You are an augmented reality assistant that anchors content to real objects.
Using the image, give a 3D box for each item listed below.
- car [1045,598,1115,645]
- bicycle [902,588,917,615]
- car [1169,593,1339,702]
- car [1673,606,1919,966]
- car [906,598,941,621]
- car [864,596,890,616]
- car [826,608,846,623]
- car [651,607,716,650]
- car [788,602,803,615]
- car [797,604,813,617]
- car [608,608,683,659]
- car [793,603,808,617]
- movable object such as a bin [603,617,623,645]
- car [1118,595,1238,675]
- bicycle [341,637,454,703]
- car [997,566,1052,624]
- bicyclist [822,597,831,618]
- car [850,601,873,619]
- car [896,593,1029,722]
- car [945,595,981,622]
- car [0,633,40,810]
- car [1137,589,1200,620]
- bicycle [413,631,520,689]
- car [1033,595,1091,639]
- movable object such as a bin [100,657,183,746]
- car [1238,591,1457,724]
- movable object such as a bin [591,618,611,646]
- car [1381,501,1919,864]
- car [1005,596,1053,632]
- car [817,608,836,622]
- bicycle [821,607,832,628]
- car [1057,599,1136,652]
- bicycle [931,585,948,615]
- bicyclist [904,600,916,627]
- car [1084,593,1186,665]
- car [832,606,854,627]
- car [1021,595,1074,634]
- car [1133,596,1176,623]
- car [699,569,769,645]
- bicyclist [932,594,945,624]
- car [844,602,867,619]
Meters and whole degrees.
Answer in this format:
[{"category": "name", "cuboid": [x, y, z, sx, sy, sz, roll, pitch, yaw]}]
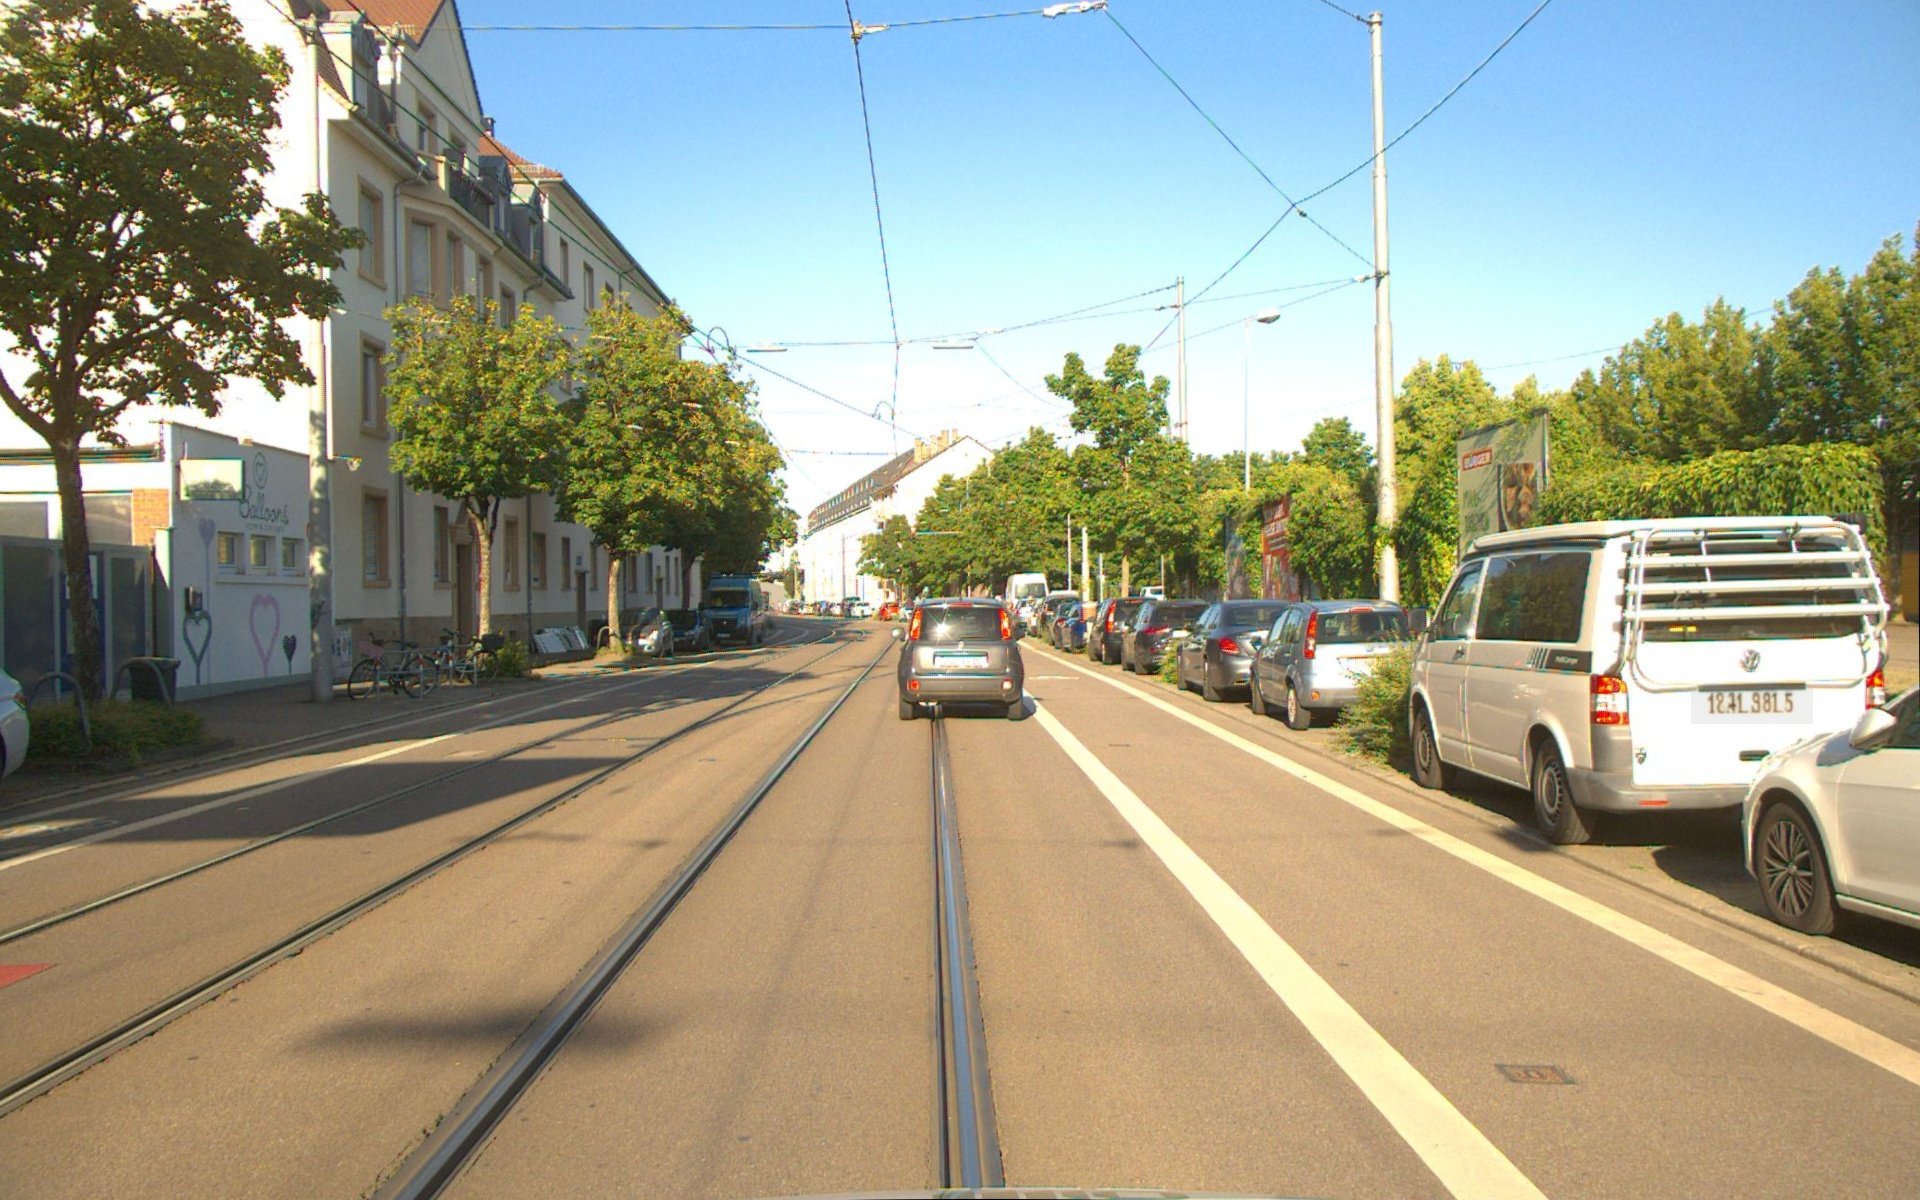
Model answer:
[{"category": "car", "cuboid": [3.897, 0.690, 54.395, 1.694, 1.490, 4.494, 0, 0, -4]}, {"category": "bicycle", "cuboid": [-3.349, 0.076, 109.933, 0.663, 1.777, 2.151, 0, 0, -12]}, {"category": "car", "cuboid": [4.386, 0.671, 25.347, 1.787, 1.510, 4.601, 0, 0, 0]}, {"category": "car", "cuboid": [4.805, 0.766, 6.711, 1.642, 1.442, 4.500, -3, 0, -3]}, {"category": "car", "cuboid": [-2.657, 0.699, 118.892, 1.660, 1.556, 3.986, -3, 0, -13]}, {"category": "car", "cuboid": [-6.763, 0.480, 133.911, 1.606, 1.534, 3.388, -4, 0, -10]}, {"category": "car", "cuboid": [-12.929, 1.609, 172.229, 1.626, 1.526, 3.120, 0, 0, -12]}, {"category": "car", "cuboid": [-9.626, 0.961, 57.918, 1.618, 1.450, 4.189, 0, 0, -1]}, {"category": "car", "cuboid": [-20.489, 1.024, 206.194, 1.555, 1.627, 3.366, 0, 0, -12]}, {"category": "car", "cuboid": [-18.235, 1.227, 194.456, 1.555, 1.430, 3.366, 0, 0, -12]}, {"category": "car", "cuboid": [-9.780, 1.011, 51.595, 1.618, 1.517, 3.999, 0, 0, -1]}, {"category": "car", "cuboid": [-19.310, 1.189, 200.110, 1.555, 1.627, 3.366, 0, 0, -12]}, {"category": "movable object such as a bin", "cuboid": [-12.426, 1.108, 59.230, 0.584, 0.951, 0.568, -1, 0, -4]}, {"category": "car", "cuboid": [4.369, 0.668, 33.797, 1.787, 1.477, 4.641, -1, 0, -1]}, {"category": "bicycle", "cuboid": [-9.529, 1.170, 28.074, 0.656, 1.058, 1.780, 0, -1, 36]}, {"category": "car", "cuboid": [3.237, -0.220, 83.758, 2.137, 2.712, 6.087, -3, 0, -3]}, {"category": "bicyclist", "cuboid": [-12.959, 0.702, 160.682, 0.702, 2.049, 0.829, 0, -1, -12]}, {"category": "car", "cuboid": [-9.057, 0.902, 152.218, 1.626, 1.599, 3.489, 0, 0, -12]}, {"category": "car", "cuboid": [-0.016, 0.702, 22.234, 1.616, 1.568, 4.233, 0, 0, -1]}, {"category": "car", "cuboid": [0.138, 0.523, 102.809, 1.657, 1.556, 3.993, -3, 0, -8]}, {"category": "car", "cuboid": [-9.135, 1.041, 12.517, 1.827, 1.516, 4.660, 0, 0, -1]}, {"category": "car", "cuboid": [15.302, 0.324, 121.417, 4.199, 2.049, 1.771, -3, 0, -7]}, {"category": "bicycle", "cuboid": [-9.462, 1.141, 31.768, 0.523, 1.058, 1.974, -1, -1, 43]}, {"category": "car", "cuboid": [3.846, 0.630, 63.081, 1.694, 1.632, 4.339, 0, 0, -4]}, {"category": "movable object such as a bin", "cuboid": [-9.683, 1.190, 19.594, 0.570, 0.976, 0.702, 4, -1, -1]}, {"category": "car", "cuboid": [4.700, 0.656, 20.634, 1.834, 1.498, 4.075, 0, 0, 1]}, {"category": "movable object such as a bin", "cuboid": [-12.330, 1.095, 56.834, 0.584, 0.951, 0.568, -1, 0, -4]}, {"category": "car", "cuboid": [4.646, 0.482, 12.071, 1.816, 2.026, 5.242, -1, 0, 1]}, {"category": "car", "cuboid": [3.181, 0.654, 77.105, 1.872, 1.556, 4.598, -2, 0, -2]}, {"category": "car", "cuboid": [-14.540, 1.607, 179.635, 1.556, 1.429, 3.366, -5, 1, -12]}, {"category": "bicycle", "cuboid": [-12.957, 1.669, 160.529, 0.728, 2.049, 2.803, 0, 0, -12]}, {"category": "car", "cuboid": [3.965, 0.717, 48.694, 1.694, 1.490, 4.337, 0, 0, -4]}, {"category": "bicycle", "cuboid": [-1.258, 0.001, 100.890, 0.663, 1.777, 2.151, 0, 0, -12]}, {"category": "bicyclist", "cuboid": [-3.349, 0.901, 109.949, 0.687, 1.790, 0.755, 0, -1, -12]}, {"category": "car", "cuboid": [4.125, 0.663, 39.448, 1.788, 1.519, 3.812, -3, 0, -3]}, {"category": "car", "cuboid": [-11.713, 1.643, 165.689, 1.626, 1.978, 4.651, 0, 0, -11]}, {"category": "car", "cuboid": [3.544, 0.587, 67.858, 1.694, 1.539, 4.248, 0, 0, -4]}, {"category": "car", "cuboid": [7.882, 0.387, 67.294, 1.283, 1.051, 3.055, 0, 0, -2]}, {"category": "car", "cuboid": [-8.931, 0.292, 65.852, 1.976, 2.875, 6.031, 0, 0, 0]}, {"category": "bicyclist", "cuboid": [-1.302, 0.536, 101.020, 0.687, 1.790, 0.755, 0, -1, -12]}, {"category": "car", "cuboid": [-9.874, 0.979, 156.452, 1.626, 1.599, 3.865, 0, 0, -12]}]
